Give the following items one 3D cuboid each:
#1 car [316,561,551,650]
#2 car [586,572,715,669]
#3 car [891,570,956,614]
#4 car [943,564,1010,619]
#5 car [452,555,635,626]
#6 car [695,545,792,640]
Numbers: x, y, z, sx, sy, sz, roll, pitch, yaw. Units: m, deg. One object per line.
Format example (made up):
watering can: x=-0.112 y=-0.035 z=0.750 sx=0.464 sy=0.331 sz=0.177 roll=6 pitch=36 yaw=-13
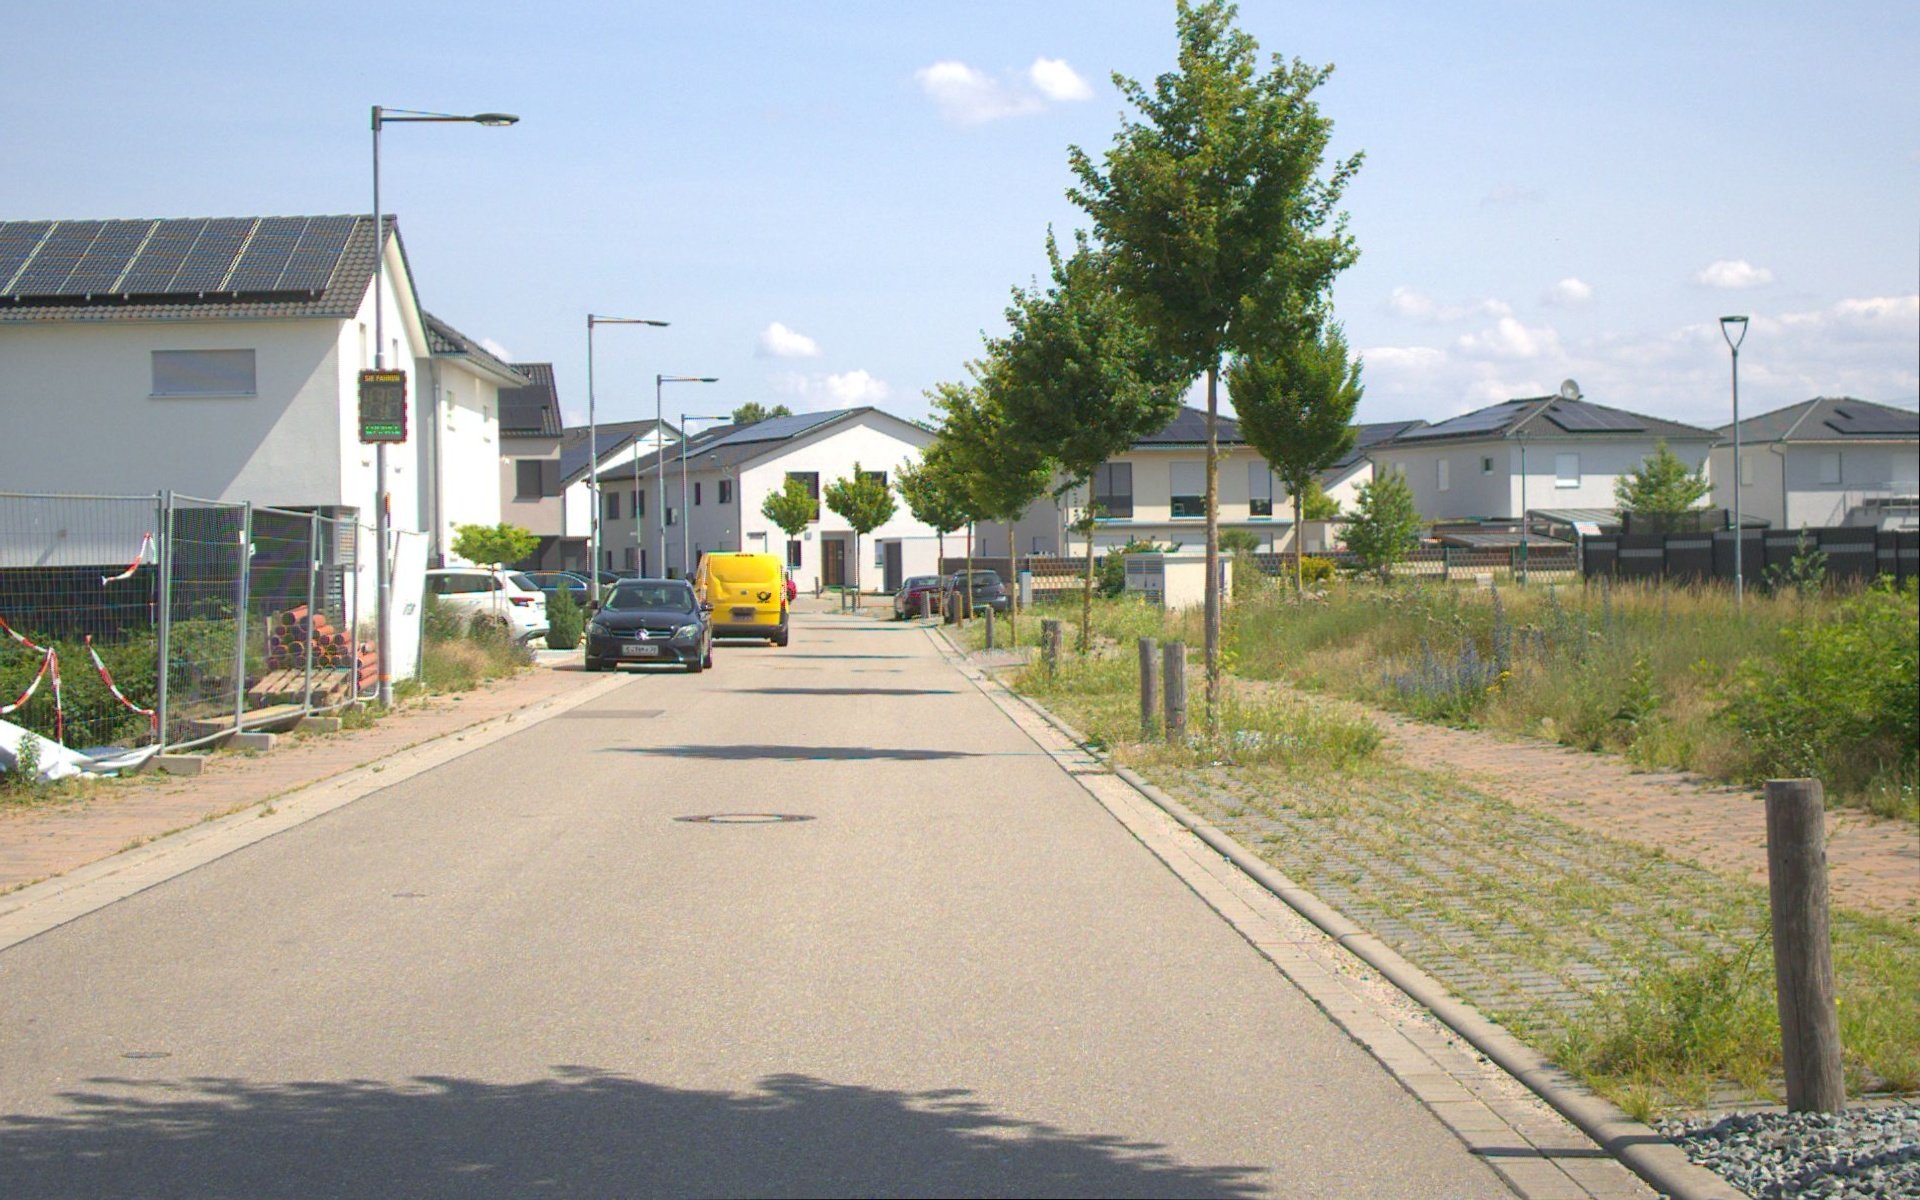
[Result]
car: x=-9.866 y=0.088 z=64.572 sx=4.069 sy=1.576 sz=1.784 roll=1 pitch=1 yaw=4
car: x=-4.838 y=0.295 z=54.161 sx=1.745 sy=1.400 sz=4.160 roll=1 pitch=1 yaw=-2
car: x=-1.228 y=-0.246 z=113.060 sx=1.627 sy=1.318 sz=3.834 roll=-1 pitch=-1 yaw=-8
car: x=0.448 y=-0.217 z=94.470 sx=1.639 sy=1.398 sz=3.811 roll=-1 pitch=-1 yaw=-2
car: x=-10.301 y=-0.239 z=84.944 sx=4.159 sy=1.499 sz=1.816 roll=3 pitch=-1 yaw=-17
car: x=-4.703 y=-0.147 z=74.305 sx=1.941 sy=1.975 sz=4.217 roll=-1 pitch=0 yaw=-5
